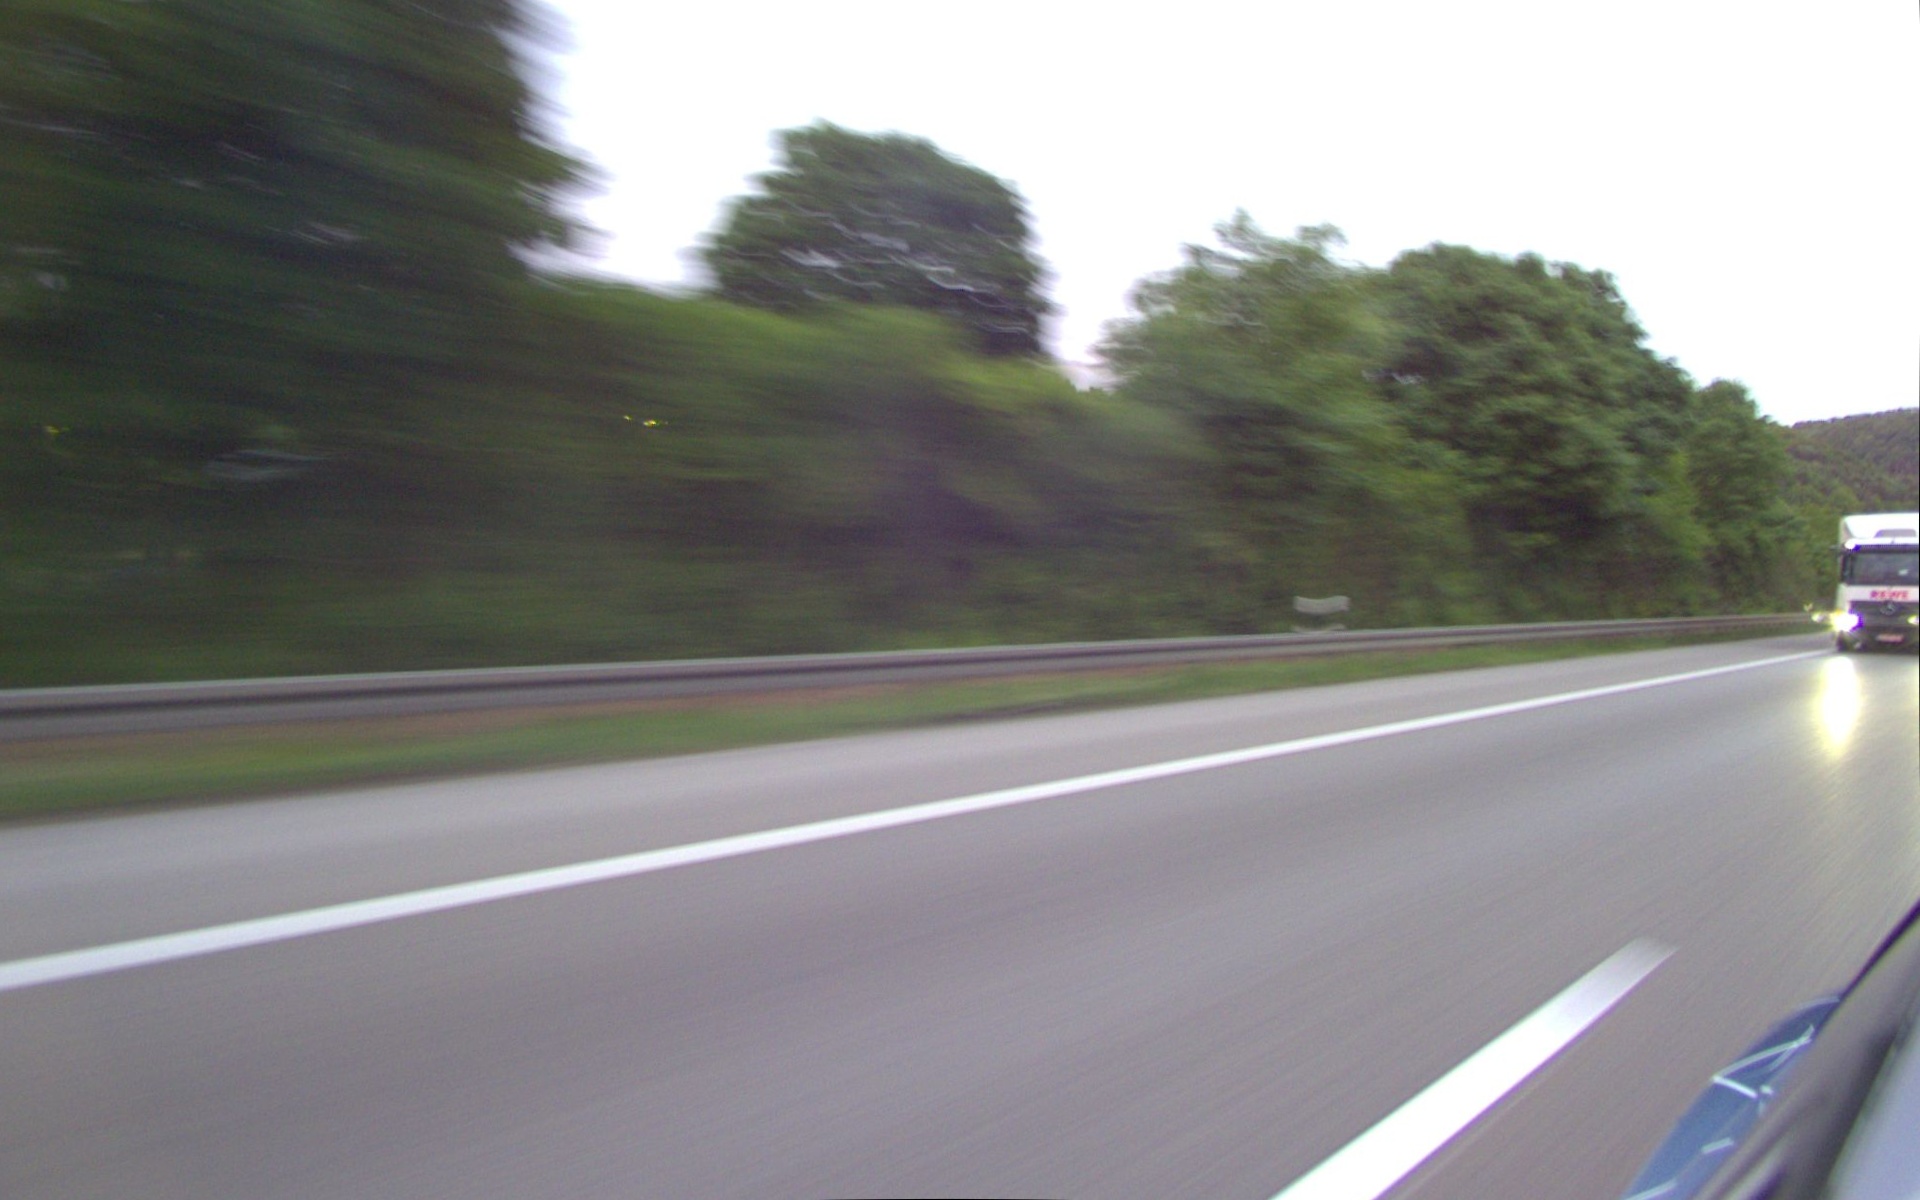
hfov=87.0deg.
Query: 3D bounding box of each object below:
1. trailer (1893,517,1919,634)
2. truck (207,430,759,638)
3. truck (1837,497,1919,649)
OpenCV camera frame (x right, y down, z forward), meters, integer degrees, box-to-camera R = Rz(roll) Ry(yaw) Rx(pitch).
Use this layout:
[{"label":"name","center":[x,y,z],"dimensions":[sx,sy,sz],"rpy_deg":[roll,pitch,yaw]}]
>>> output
[{"label":"trailer","center":[35.418,-0.826,35.691],"dimensions":[8.723,3.874,2.622],"rpy_deg":[-1,2,-41]},{"label":"truck","center":[-10.858,-1.380,24.710],"dimensions":[11.793,3.964,3.356],"rpy_deg":[-1,2,-45]},{"label":"truck","center":[28.266,-0.752,29.442],"dimensions":[10.204,3.874,2.622],"rpy_deg":[-1,2,-41]}]
